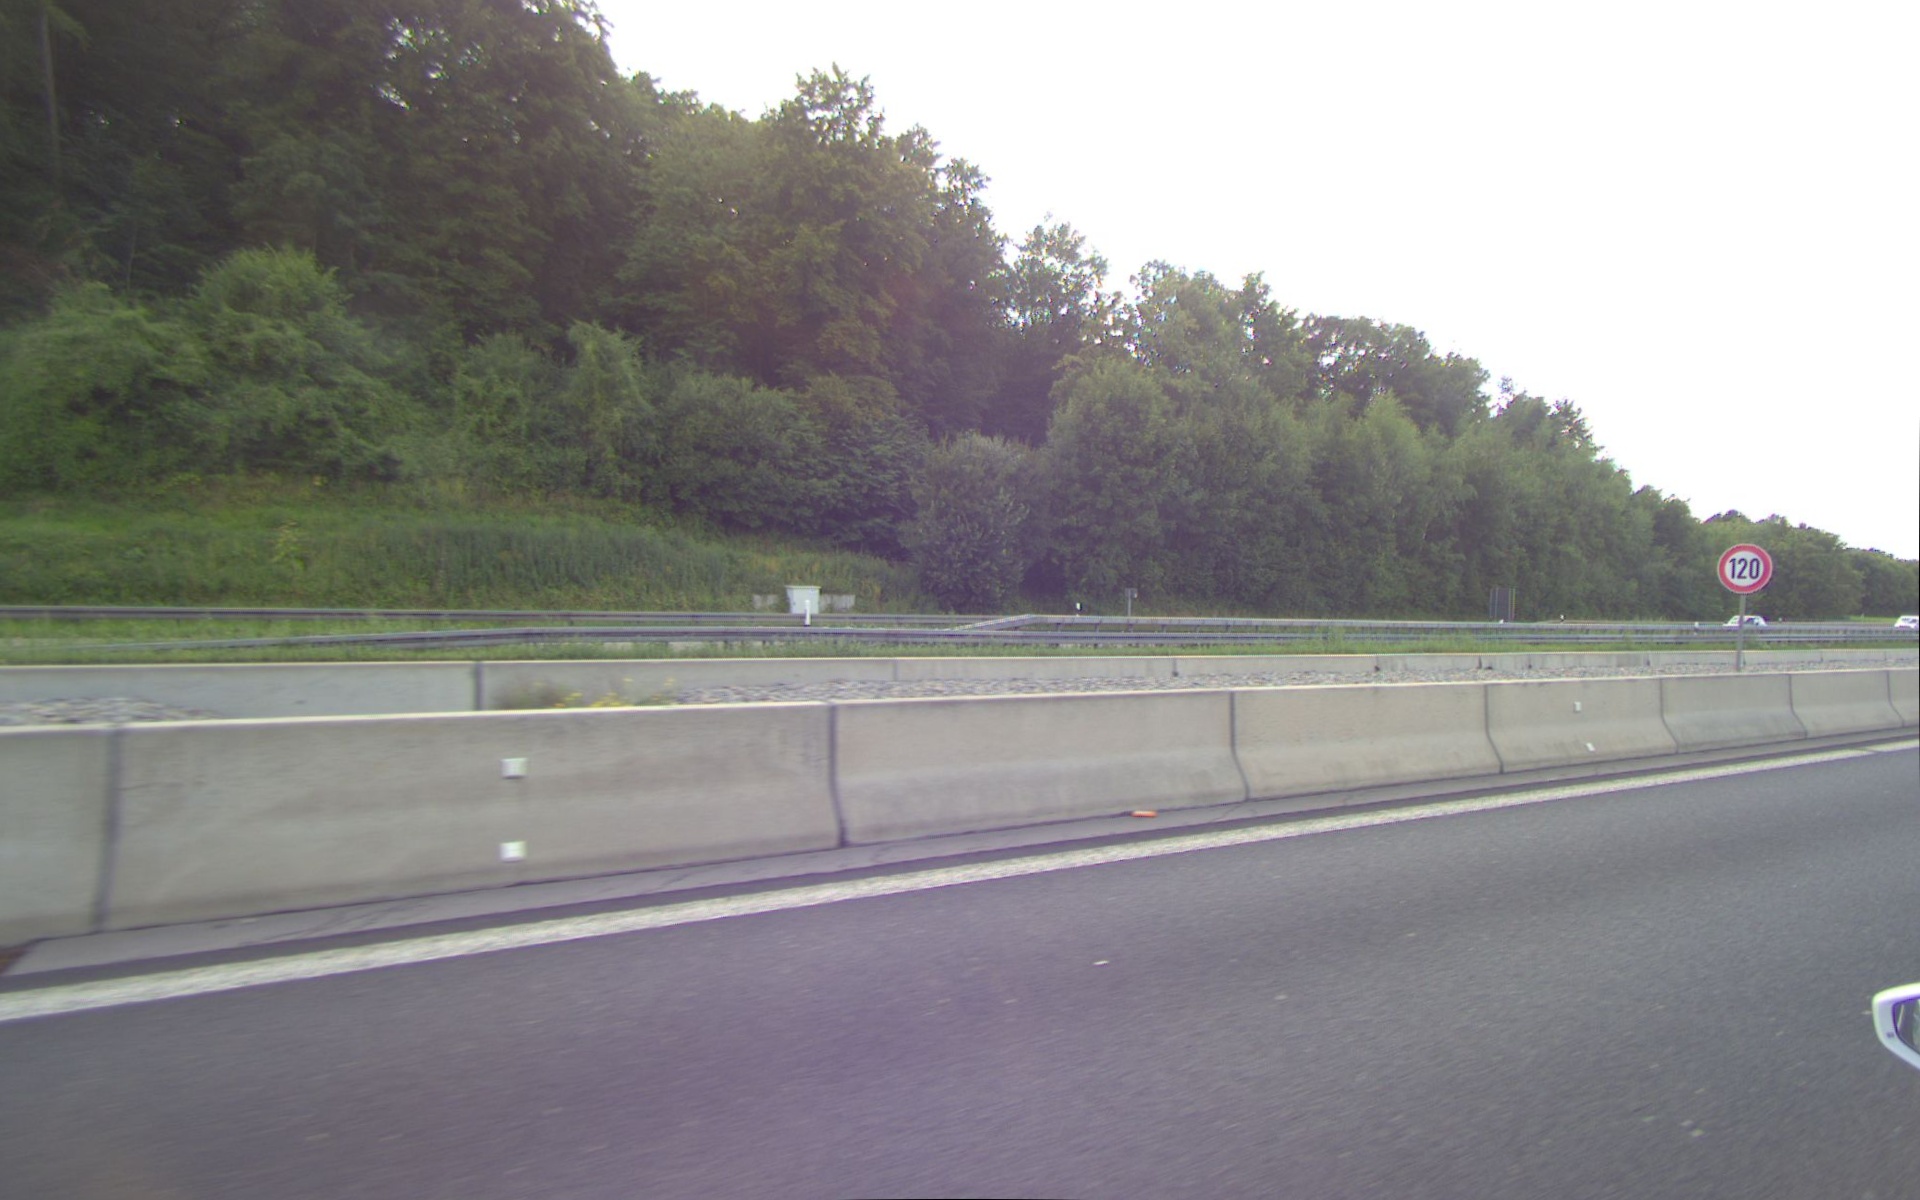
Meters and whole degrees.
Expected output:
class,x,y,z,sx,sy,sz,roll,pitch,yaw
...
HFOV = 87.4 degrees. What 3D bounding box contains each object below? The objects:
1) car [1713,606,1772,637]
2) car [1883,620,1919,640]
class,x,y,z,sx,sy,sz,roll,pitch,yaw
car,54.283,1.513,69.707,3.956,2.040,1.982,1,1,-32
car,98.894,3.182,105.205,5.204,1.879,1.982,3,-1,-32
